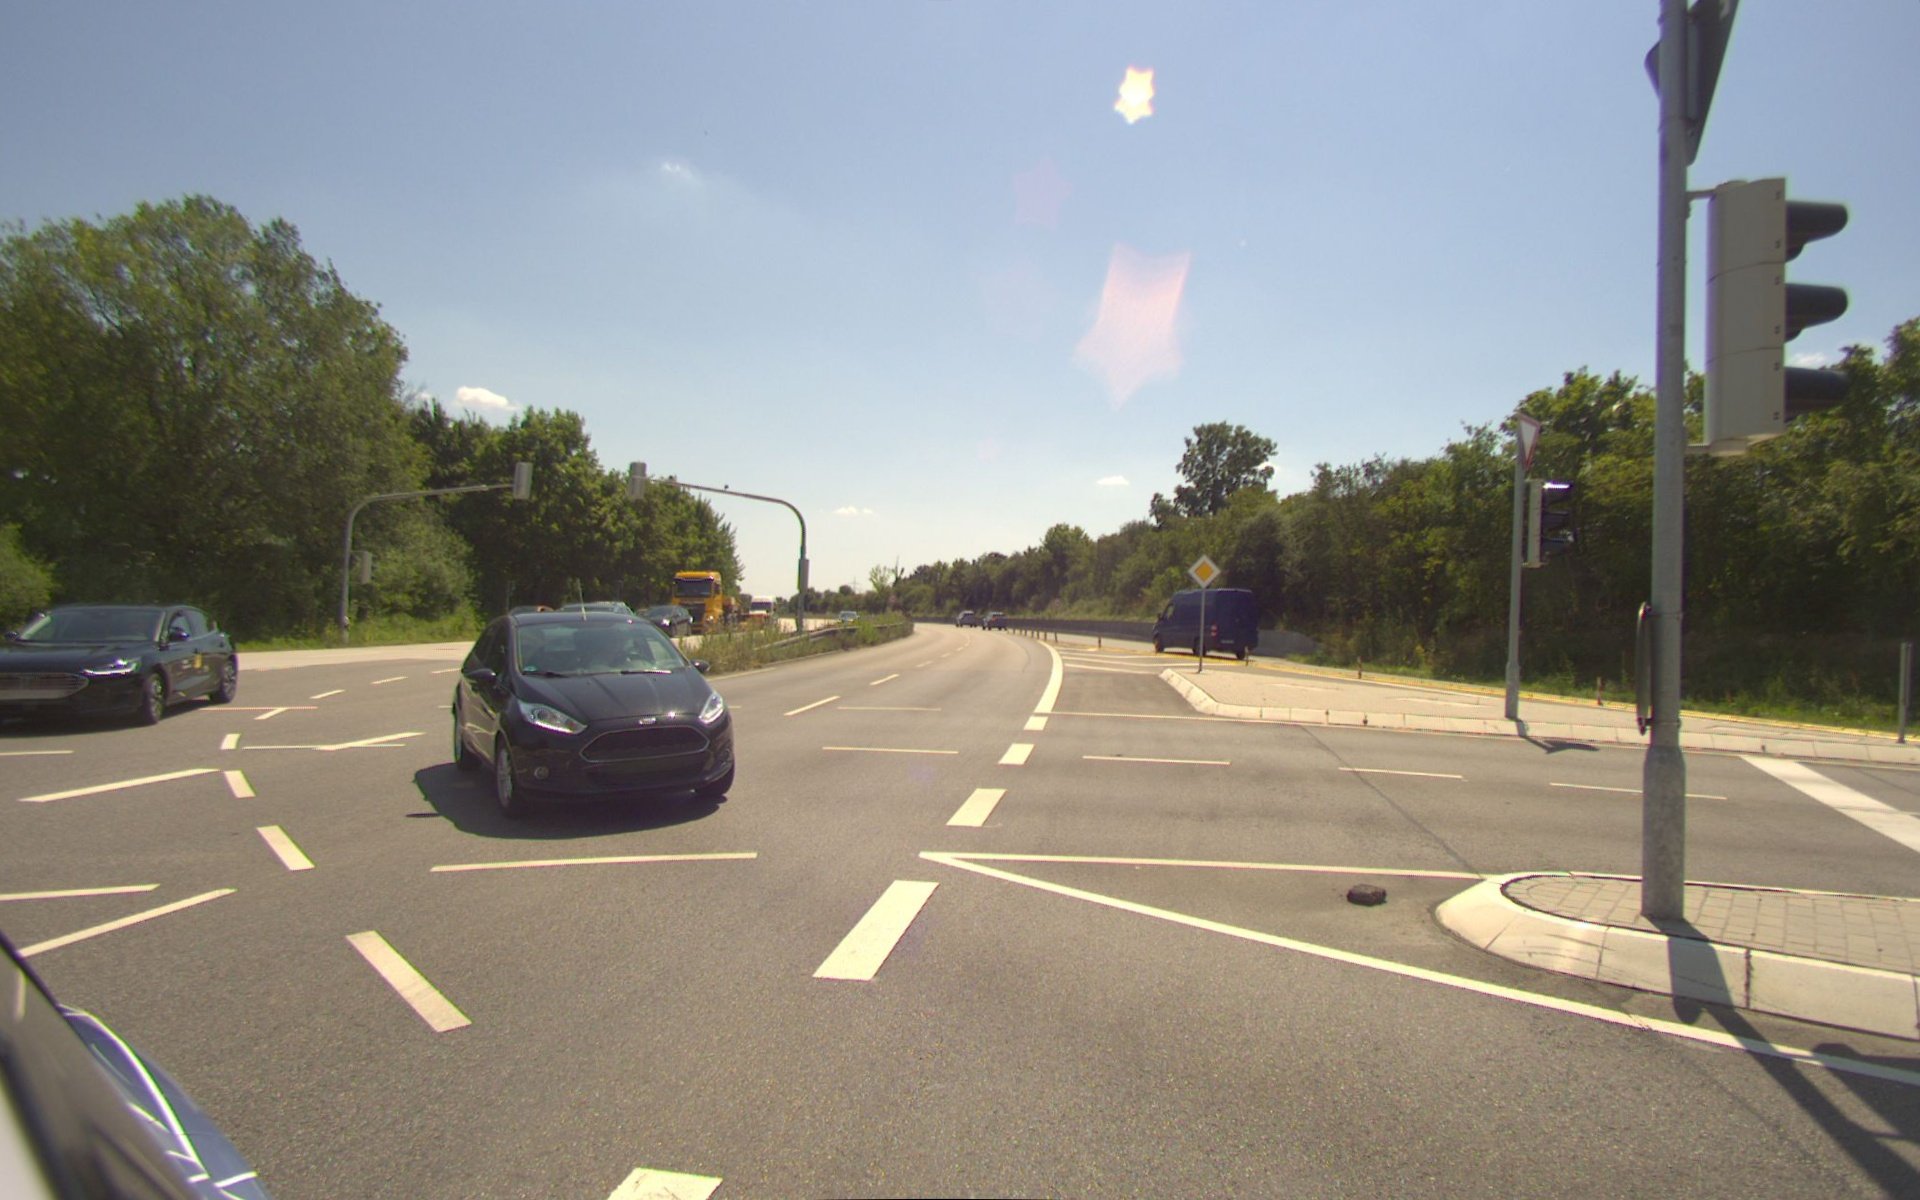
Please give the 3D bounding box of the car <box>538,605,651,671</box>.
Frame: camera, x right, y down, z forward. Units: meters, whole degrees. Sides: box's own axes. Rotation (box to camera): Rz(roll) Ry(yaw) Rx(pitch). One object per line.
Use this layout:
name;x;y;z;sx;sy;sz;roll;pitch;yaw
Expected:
car;-8.827;0.868;24.771;1.681;1.475;4.005;1;-1;-6

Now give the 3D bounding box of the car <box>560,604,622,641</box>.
car;-19.170;1.161;52.814;1.747;1.821;4.796;1;-1;-4

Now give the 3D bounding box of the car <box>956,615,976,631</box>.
car;0.657;2.617;116.536;1.971;1.786;4.860;1;-1;-3

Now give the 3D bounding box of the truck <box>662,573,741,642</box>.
truck;-15.269;0.467;60.274;2.980;3.801;7.472;1;-1;-2

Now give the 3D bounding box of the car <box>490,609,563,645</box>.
car;-19.204;1.166;44.950;1.748;1.521;3.652;1;-1;-1

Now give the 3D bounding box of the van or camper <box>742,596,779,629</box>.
van or camper;-16.190;1.023;82.330;2.040;2.593;5.910;1;-1;-2

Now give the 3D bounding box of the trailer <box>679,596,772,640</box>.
trailer;-15.551;1.246;68.641;2.993;2.613;16.361;1;-1;-2

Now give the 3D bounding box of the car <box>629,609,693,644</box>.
car;-14.973;1.295;50.933;1.765;1.652;4.645;1;-1;2

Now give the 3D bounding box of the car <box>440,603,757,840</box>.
car;-3.240;0.788;8.532;1.601;1.496;4.011;1;-1;-33

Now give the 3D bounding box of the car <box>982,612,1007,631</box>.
car;3.175;2.000;94.790;1.971;1.705;4.659;1;-1;-2

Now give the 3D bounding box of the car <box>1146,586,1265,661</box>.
car;9.623;0.899;40.349;2.031;2.725;5.913;1;-1;-15

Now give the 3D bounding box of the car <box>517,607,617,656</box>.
car;-12.721;0.981;33.018;1.864;1.475;4.003;1;-1;-3

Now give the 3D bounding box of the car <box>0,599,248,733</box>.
car;-10.917;0.749;13.024;1.702;1.450;4.317;1;-1;-19
